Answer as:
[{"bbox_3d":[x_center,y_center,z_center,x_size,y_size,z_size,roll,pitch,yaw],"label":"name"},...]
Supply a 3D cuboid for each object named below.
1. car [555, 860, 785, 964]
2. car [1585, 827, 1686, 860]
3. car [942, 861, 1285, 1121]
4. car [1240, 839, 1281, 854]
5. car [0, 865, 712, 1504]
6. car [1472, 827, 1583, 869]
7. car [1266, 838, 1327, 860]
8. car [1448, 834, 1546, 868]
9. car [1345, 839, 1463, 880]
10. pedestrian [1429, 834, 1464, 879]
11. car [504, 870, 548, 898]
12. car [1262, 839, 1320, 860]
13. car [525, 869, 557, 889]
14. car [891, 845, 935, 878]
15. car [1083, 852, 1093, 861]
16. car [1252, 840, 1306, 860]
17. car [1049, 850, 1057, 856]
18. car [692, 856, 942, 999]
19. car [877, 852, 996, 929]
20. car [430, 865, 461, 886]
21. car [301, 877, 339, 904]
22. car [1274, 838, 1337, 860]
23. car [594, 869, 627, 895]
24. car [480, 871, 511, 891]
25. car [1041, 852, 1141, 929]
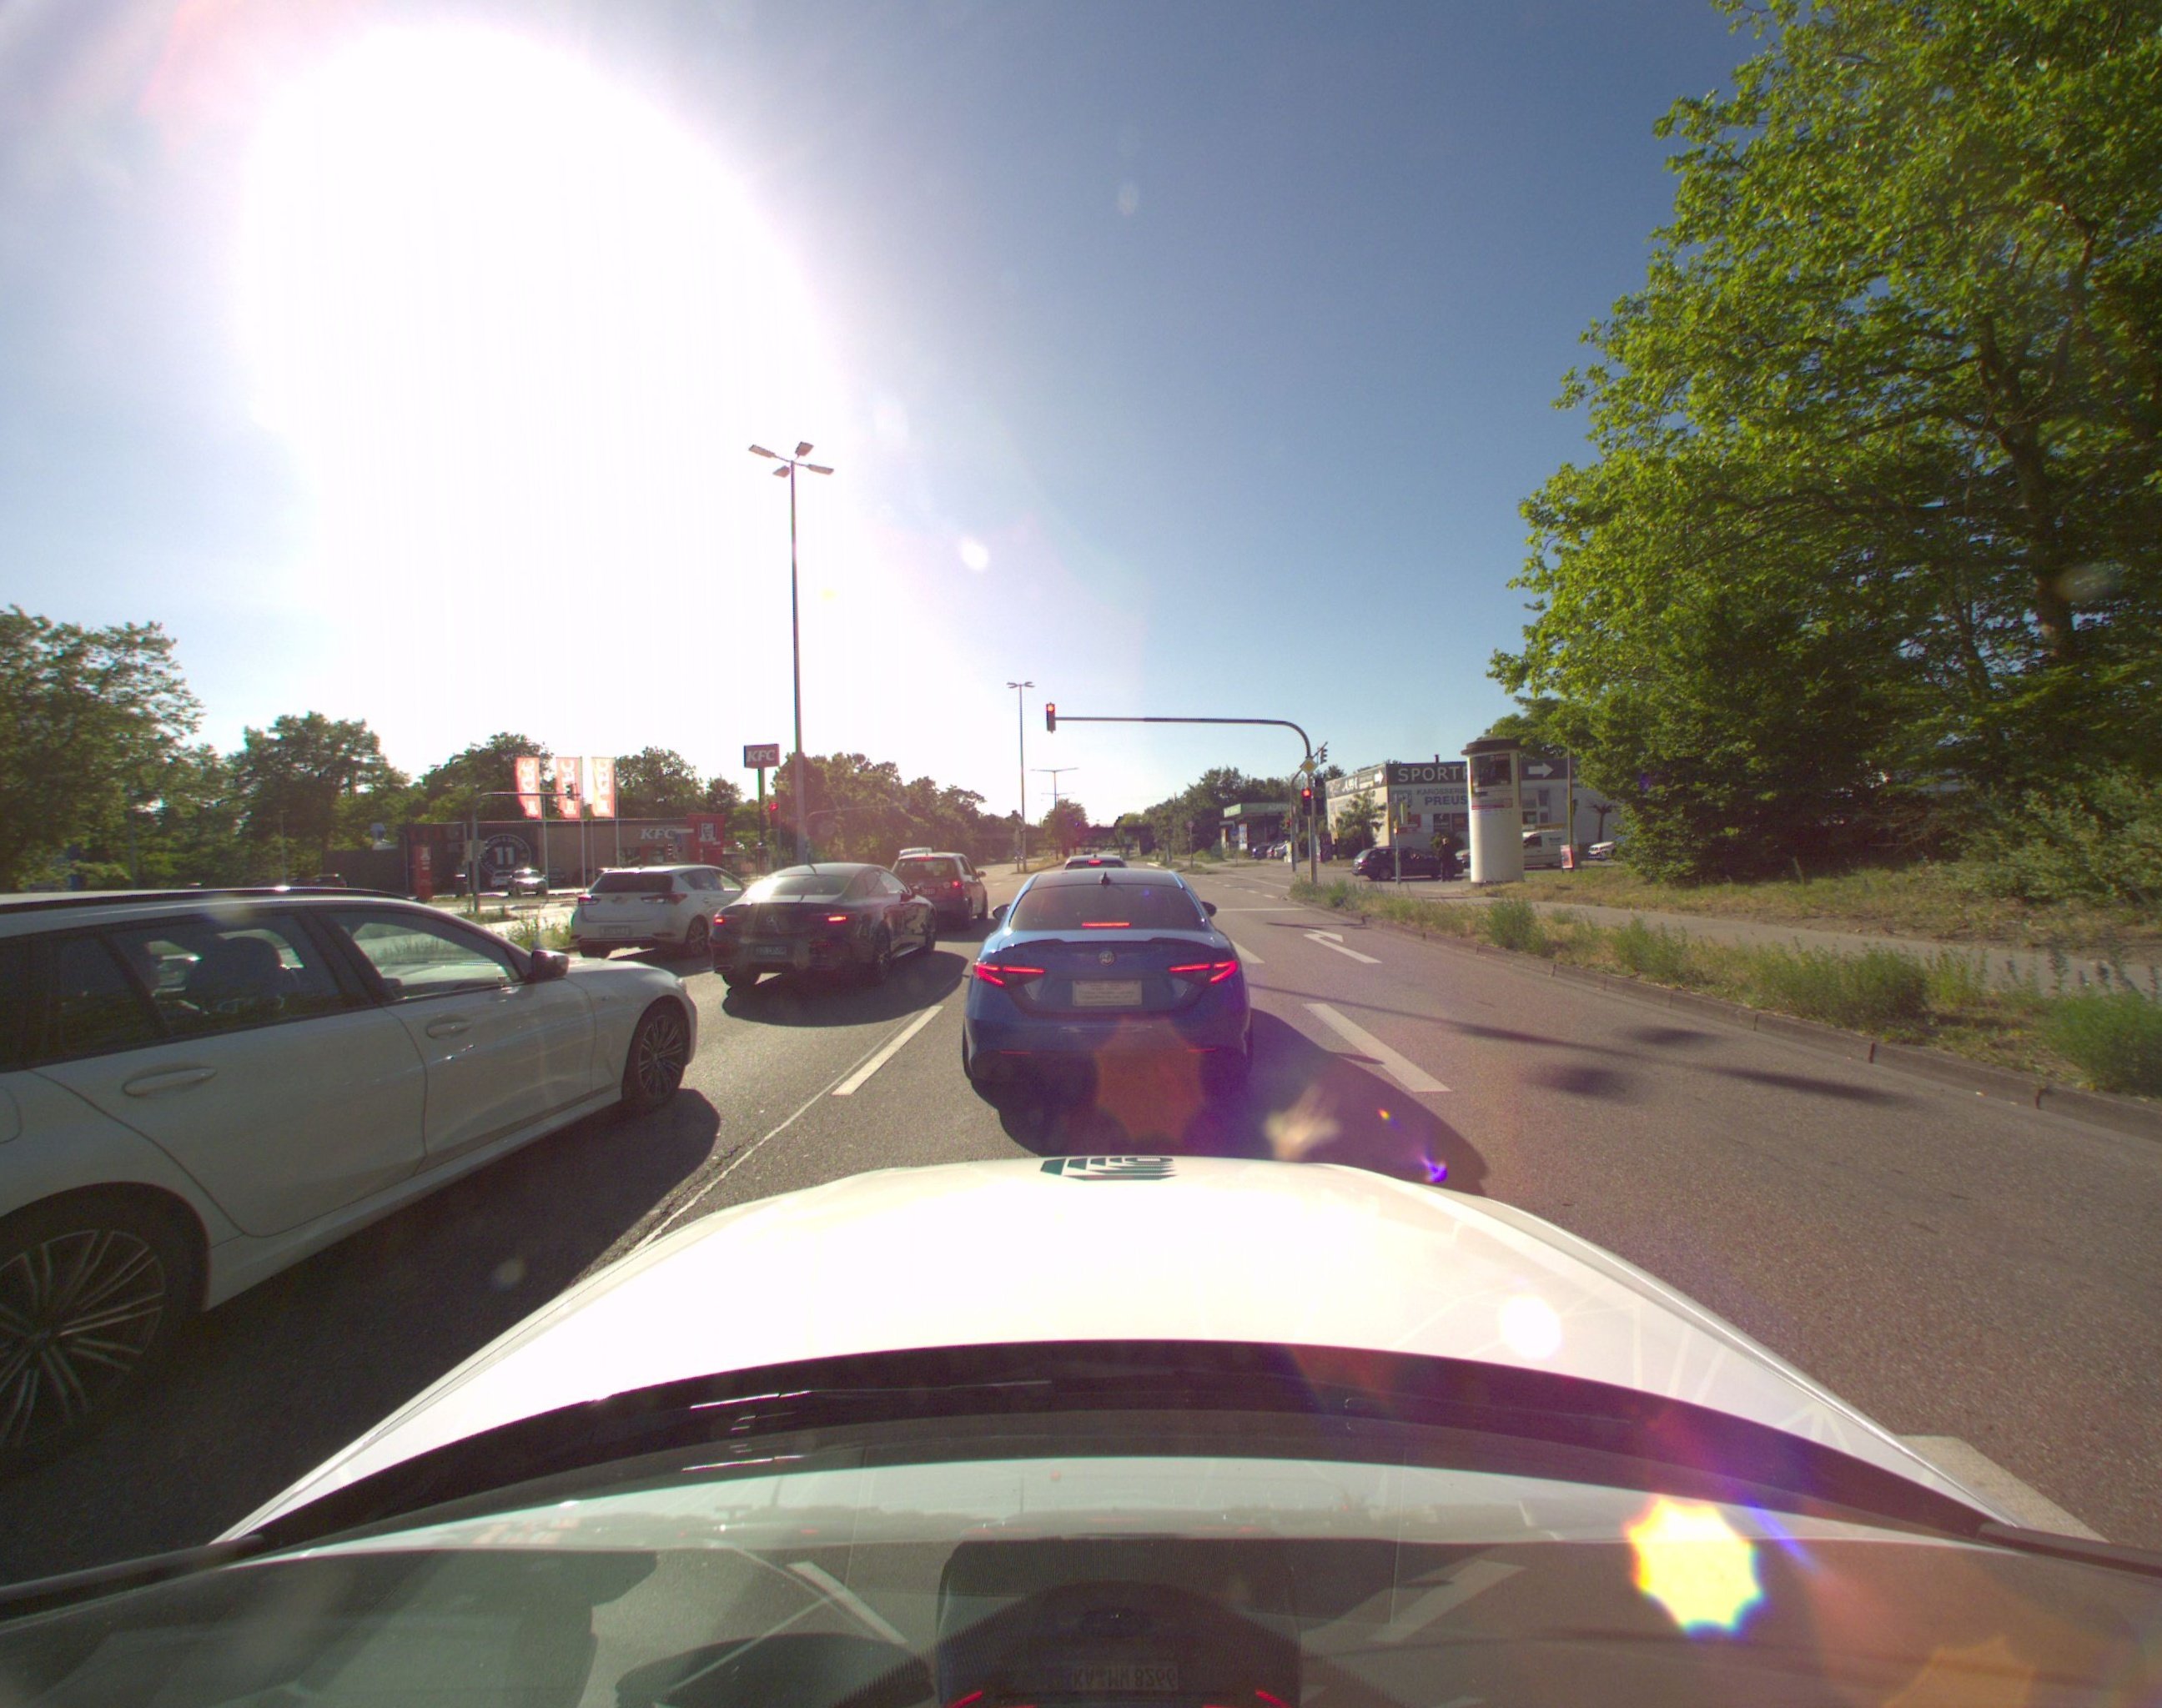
[{"bbox_3d":[-6.755,0.861,13.963,1.753,1.490,4.197,0,-1,1],"label":"car"},{"bbox_3d":[29.108,-0.539,42.838,4.028,1.490,1.782,-3,0,-1],"label":"car"},{"bbox_3d":[0.211,0.778,6.716,1.889,1.418,4.403,0,-1,1],"label":"car"},{"bbox_3d":[21.389,-0.870,97.017,4.532,1.490,1.766,-4,0,3],"label":"car"},{"bbox_3d":[-3.423,0.805,3.307,1.779,1.490,4.403,0,-1,1],"label":"car"},{"bbox_3d":[21.544,-0.322,39.368,4.367,1.801,1.765,-3,1,0],"label":"car"},{"bbox_3d":[17.711,-0.402,67.105,4.470,1.454,1.860,-4,0,3],"label":"car"},{"bbox_3d":[21.769,-0.192,42.716,4.273,1.549,1.765,-3,1,0],"label":"car"},{"bbox_3d":[13.937,0.229,35.350,4.392,1.490,1.766,-4,0,3],"label":"car"},{"bbox_3d":[14.185,0.095,31.632,0.922,1.735,0.939,0,-1,1],"label":"pedestrian"},{"bbox_3d":[-37.334,1.955,54.862,2.005,1.765,4.315,0,-1,-29],"label":"car"},{"bbox_3d":[17.988,-0.373,69.854,4.470,1.454,1.860,-4,0,3],"label":"car"},{"bbox_3d":[-43.143,1.975,65.060,1.670,1.471,3.872,0,-1,-40],"label":"car"},{"bbox_3d":[-13.766,0.602,67.077,2.015,2.447,5.823,-5,0,1],"label":"car"},{"bbox_3d":[1.437,0.530,166.487,1.884,1.816,4.001,0,-1,2],"label":"car"},{"bbox_3d":[17.947,-0.345,73.908,4.470,1.454,1.860,-4,0,3],"label":"car"},{"bbox_3d":[-8.100,-0.369,234.127,1.752,1.490,4.480,-3,0,2],"label":"car"},{"bbox_3d":[-3.166,0.786,10.812,1.790,1.490,4.476,0,-1,1],"label":"car"},{"bbox_3d":[-3.021,0.722,17.915,1.753,1.490,4.403,0,-1,1],"label":"car"},{"bbox_3d":[-47.636,1.583,60.990,1.670,1.471,3.872,0,-1,-40],"label":"car"},{"bbox_3d":[-52.369,2.484,56.096,1.670,1.673,3.897,0,-1,-40],"label":"car"},{"bbox_3d":[17.705,-0.416,64.325,4.470,1.454,1.860,-4,0,3],"label":"car"},{"bbox_3d":[-33.664,1.949,58.342,1.920,1.752,4.315,0,-1,-29],"label":"car"},{"bbox_3d":[-45.635,2.044,63.407,1.670,1.471,3.872,0,-1,-40],"label":"car"},{"bbox_3d":[0.221,0.700,17.359,1.844,1.418,4.403,0,-1,1],"label":"car"}]
